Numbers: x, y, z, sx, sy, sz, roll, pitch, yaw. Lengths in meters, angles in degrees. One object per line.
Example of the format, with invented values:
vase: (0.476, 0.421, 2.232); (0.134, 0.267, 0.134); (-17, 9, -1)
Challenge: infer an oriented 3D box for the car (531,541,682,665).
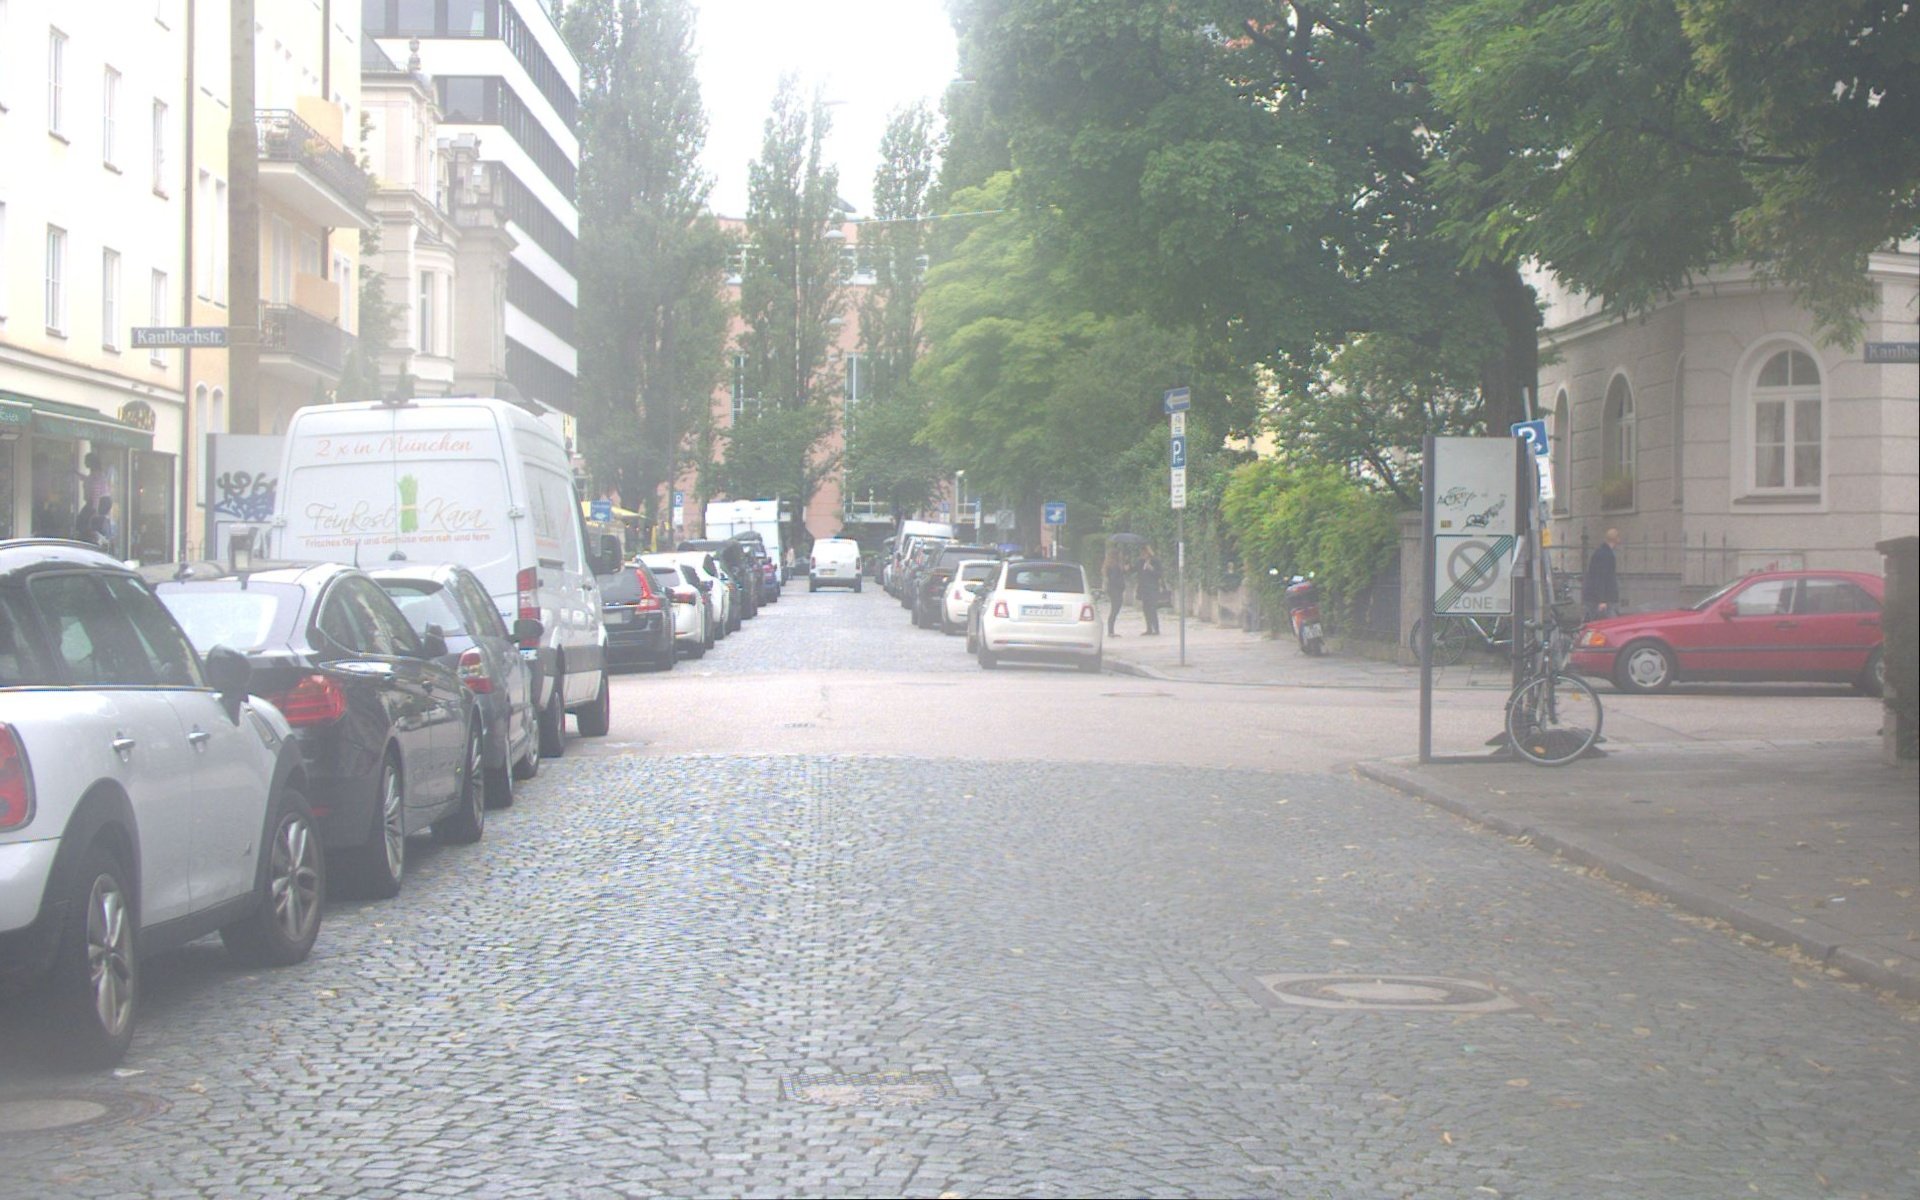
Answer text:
car: (-4.812, 0.020, 47.286); (1.852, 1.581, 4.749); (1, 0, -4)

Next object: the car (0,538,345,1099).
car: (-3.208, 0.554, 11.102); (1.693, 1.498, 3.777); (1, 0, 1)

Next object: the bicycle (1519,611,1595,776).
bicycle: (4.329, 0.657, 24.973); (0.388, 1.143, 1.589); (1, 0, 5)

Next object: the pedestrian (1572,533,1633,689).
pedestrian: (7.789, 0.131, 41.701); (0.493, 1.869, 0.743); (1, 0, -7)

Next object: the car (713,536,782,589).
car: (-6.138, -1.070, 99.522); (1.939, 1.454, 4.058); (1, 0, -3)

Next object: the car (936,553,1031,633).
car: (0.438, -0.154, 68.029); (1.630, 1.464, 3.659); (3, 0, -2)

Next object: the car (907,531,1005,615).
car: (-0.125, -0.571, 73.098); (1.875, 1.667, 5.491); (1, 0, -2)

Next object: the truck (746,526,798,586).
truck: (-7.600, -1.778, 139.555); (1.993, 2.338, 4.068); (1, 0, -2)

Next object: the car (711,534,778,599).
car: (-5.886, -0.914, 94.245); (1.773, 1.712, 4.391); (1, 0, -3)

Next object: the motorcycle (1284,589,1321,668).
motorcycle: (4.789, 0.392, 48.113); (0.362, 1.086, 1.403); (1, 0, 0)

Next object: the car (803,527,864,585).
car: (-4.384, -1.508, 119.279); (1.996, 1.929, 4.000); (1, 0, -1)

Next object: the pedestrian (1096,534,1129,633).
pedestrian: (2.855, -0.312, 64.260); (0.576, 1.844, 0.681); (1, 1, 5)

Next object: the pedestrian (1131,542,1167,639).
pedestrian: (3.565, -0.175, 64.772); (0.628, 1.802, 0.660); (1, 0, 3)

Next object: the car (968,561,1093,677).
car: (0.936, 0.234, 47.310); (1.502, 1.466, 3.795); (3, 0, -1)

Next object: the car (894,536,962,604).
car: (-1.015, -0.939, 106.735); (1.800, 1.943, 4.861); (4, 0, -3)

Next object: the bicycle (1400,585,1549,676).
bicycle: (6.549, 0.377, 43.760); (1.838, 1.120, 0.562); (1, 1, 11)

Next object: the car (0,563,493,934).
car: (-3.340, 0.582, 16.233); (1.725, 1.459, 4.473); (-1, 1, -1)

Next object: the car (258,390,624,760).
car: (-3.925, -0.198, 27.004); (1.977, 2.565, 5.794); (-1, 0, 0)

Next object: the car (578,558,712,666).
car: (-4.731, 0.150, 52.085); (1.773, 1.531, 4.541); (0, 1, -2)

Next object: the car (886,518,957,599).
car: (-1.284, -1.387, 112.155); (1.895, 2.418, 5.612); (5, 1, -3)

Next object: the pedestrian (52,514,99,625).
pedestrian: (-13.174, -0.453, 51.223); (0.522, 1.637, 0.630); (1, 0, -3)

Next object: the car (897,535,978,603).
car: (-0.645, -0.842, 93.605); (1.963, 1.753, 4.955); (1, 0, -3)

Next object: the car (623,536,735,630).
car: (-5.151, -0.319, 63.560); (1.773, 1.642, 4.391); (1, 0, -1)

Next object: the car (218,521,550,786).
car: (-3.519, 0.289, 21.605); (1.661, 1.477, 3.983); (1, 0, -4)

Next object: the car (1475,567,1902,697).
car: (8.042, 0.338, 38.280); (4.468, 1.353, 1.760); (1, 1, 6)

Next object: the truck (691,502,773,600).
truck: (-7.293, -1.593, 110.394); (2.508, 3.021, 6.386); (-1, 1, -3)
